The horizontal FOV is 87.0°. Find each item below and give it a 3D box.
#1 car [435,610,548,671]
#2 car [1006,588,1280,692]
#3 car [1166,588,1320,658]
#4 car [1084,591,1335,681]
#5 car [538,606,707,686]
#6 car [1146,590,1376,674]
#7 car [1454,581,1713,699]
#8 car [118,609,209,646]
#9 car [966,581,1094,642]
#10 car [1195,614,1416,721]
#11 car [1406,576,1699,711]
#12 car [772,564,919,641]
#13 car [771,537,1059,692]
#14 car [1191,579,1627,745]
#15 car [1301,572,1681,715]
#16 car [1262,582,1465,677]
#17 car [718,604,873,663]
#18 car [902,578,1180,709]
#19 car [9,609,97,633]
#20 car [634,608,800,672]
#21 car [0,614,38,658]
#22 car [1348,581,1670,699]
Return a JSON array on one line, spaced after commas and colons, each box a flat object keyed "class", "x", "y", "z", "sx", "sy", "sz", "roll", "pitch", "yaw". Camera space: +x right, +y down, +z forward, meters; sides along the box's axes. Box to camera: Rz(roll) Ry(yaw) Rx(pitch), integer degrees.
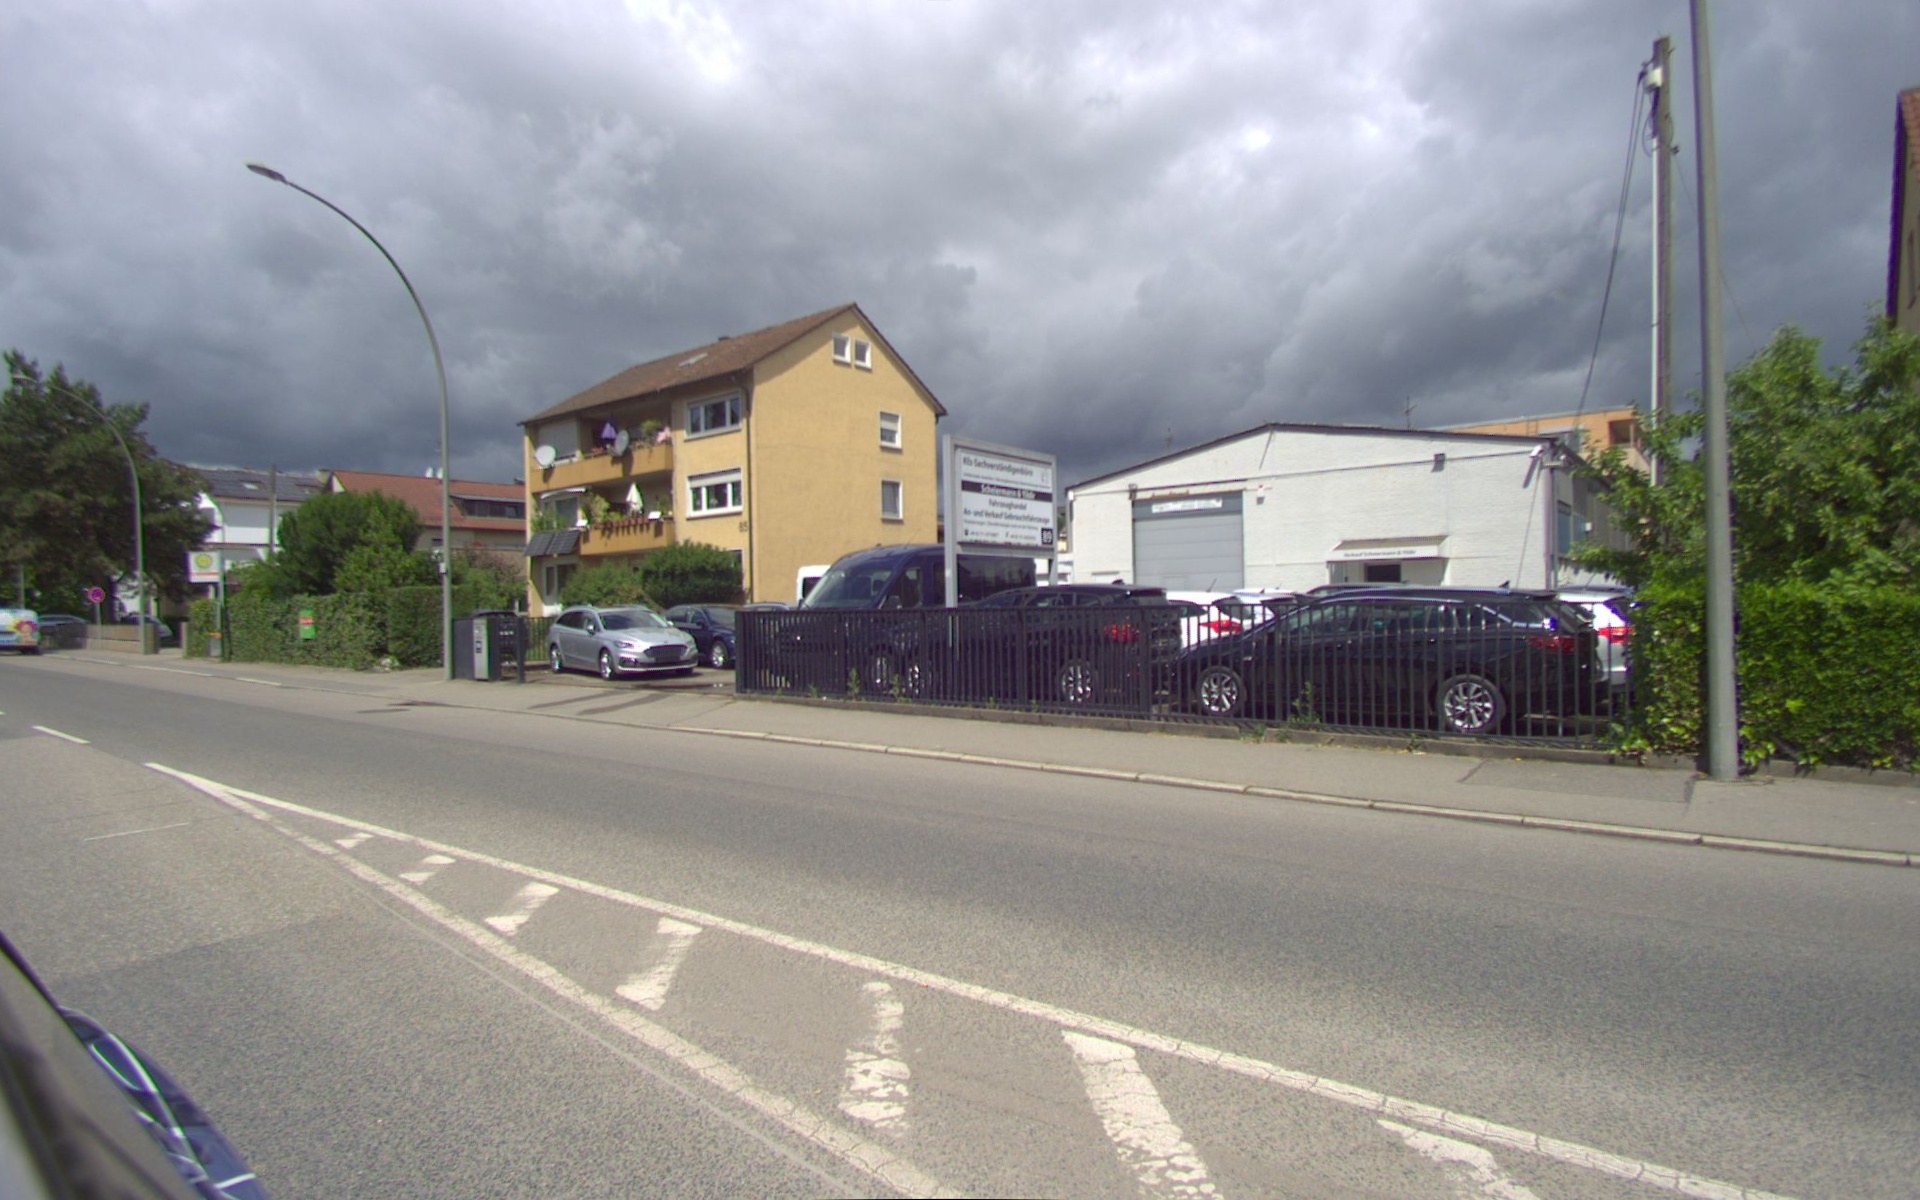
[{"class": "car", "x": -14.078, "y": 1.160, "z": 30.379, "sx": 3.520, "sy": 1.678, "sz": 1.807, "roll": -1, "pitch": 0, "yaw": 41}, {"class": "car", "x": 2.869, "y": 0.575, "z": 16.316, "sx": 3.998, "sy": 1.470, "sz": 1.795, "roll": -1, "pitch": 0, "yaw": 41}, {"class": "car", "x": 8.457, "y": 0.657, "z": 30.425, "sx": 3.998, "sy": 1.941, "sz": 1.973, "roll": -1, "pitch": 0, "yaw": 41}, {"class": "car", "x": 4.353, "y": 0.579, "z": 17.991, "sx": 3.998, "sy": 1.423, "sz": 1.716, "roll": -1, "pitch": 0, "yaw": 41}, {"class": "car", "x": -7.277, "y": 0.895, "z": 21.572, "sx": 1.861, "sy": 1.470, "sz": 4.356, "roll": -2, "pitch": 1, "yaw": -41}, {"class": "car", "x": 5.877, "y": 0.584, "z": 19.985, "sx": 3.998, "sy": 1.498, "sz": 1.742, "roll": -1, "pitch": 0, "yaw": 41}, {"class": "car", "x": 11.966, "y": 0.699, "z": 19.539, "sx": 3.998, "sy": 2.029, "sz": 1.973, "roll": -1, "pitch": 0, "yaw": 41}, {"class": "car", "x": -46.363, "y": 1.579, "z": 58.941, "sx": 3.954, "sy": 2.029, "sz": 1.995, "roll": -1, "pitch": 0, "yaw": 9}, {"class": "car", "x": 2.371, "y": 0.383, "z": 34.626, "sx": 3.998, "sy": 1.941, "sz": 1.973, "roll": -1, "pitch": 0, "yaw": 41}, {"class": "car", "x": 7.296, "y": 1.332, "z": 21.561, "sx": 3.998, "sy": 2.029, "sz": 1.973, "roll": -1, "pitch": 0, "yaw": 41}, {"class": "car", "x": 10.011, "y": 0.667, "z": 17.237, "sx": 3.998, "sy": 2.029, "sz": 1.973, "roll": -1, "pitch": 0, "yaw": 41}, {"class": "car", "x": -3.295, "y": 0.077, "z": 28.722, "sx": 3.998, "sy": 2.029, "sz": 1.973, "roll": -1, "pitch": 0, "yaw": 41}, {"class": "car", "x": -0.640, "y": 0.218, "z": 18.357, "sx": 2.104, "sy": 2.402, "sz": 5.293, "roll": -1, "pitch": 0, "yaw": 42}, {"class": "car", "x": 4.808, "y": 0.569, "z": 11.126, "sx": 4.040, "sy": 1.494, "sz": 1.840, "roll": -1, "pitch": 0, "yaw": 40}, {"class": "car", "x": 6.743, "y": 0.483, "z": 13.060, "sx": 3.998, "sy": 1.552, "sz": 1.973, "roll": -1, "pitch": 0, "yaw": 41}, {"class": "car", "x": 9.386, "y": 0.639, "z": 23.699, "sx": 3.998, "sy": 2.029, "sz": 1.973, "roll": -1, "pitch": 0, "yaw": 41}, {"class": "car", "x": -4.320, "y": 0.830, "z": 26.291, "sx": 3.998, "sy": 1.383, "sz": 1.859, "roll": -1, "pitch": 0, "yaw": 41}, {"class": "car", "x": 1.083, "y": 0.552, "z": 14.464, "sx": 3.619, "sy": 1.633, "sz": 1.790, "roll": -1, "pitch": 0, "yaw": 41}, {"class": "car", "x": -68.431, "y": 1.534, "z": 76.418, "sx": 2.216, "sy": 1.691, "sz": 4.676, "roll": -1, "pitch": 0, "yaw": 39}, {"class": "car", "x": -5.788, "y": 0.892, "z": 23.893, "sx": 3.998, "sy": 1.352, "sz": 1.861, "roll": -1, "pitch": 0, "yaw": 41}, {"class": "car", "x": -39.278, "y": 1.451, "z": 41.400, "sx": 3.995, "sy": 1.693, "sz": 1.708, "roll": -1, "pitch": 0, "yaw": 39}, {"class": "car", "x": 8.284, "y": 0.542, "z": 15.446, "sx": 3.998, "sy": 1.560, "sz": 1.973, "roll": -1, "pitch": 0, "yaw": 41}]
